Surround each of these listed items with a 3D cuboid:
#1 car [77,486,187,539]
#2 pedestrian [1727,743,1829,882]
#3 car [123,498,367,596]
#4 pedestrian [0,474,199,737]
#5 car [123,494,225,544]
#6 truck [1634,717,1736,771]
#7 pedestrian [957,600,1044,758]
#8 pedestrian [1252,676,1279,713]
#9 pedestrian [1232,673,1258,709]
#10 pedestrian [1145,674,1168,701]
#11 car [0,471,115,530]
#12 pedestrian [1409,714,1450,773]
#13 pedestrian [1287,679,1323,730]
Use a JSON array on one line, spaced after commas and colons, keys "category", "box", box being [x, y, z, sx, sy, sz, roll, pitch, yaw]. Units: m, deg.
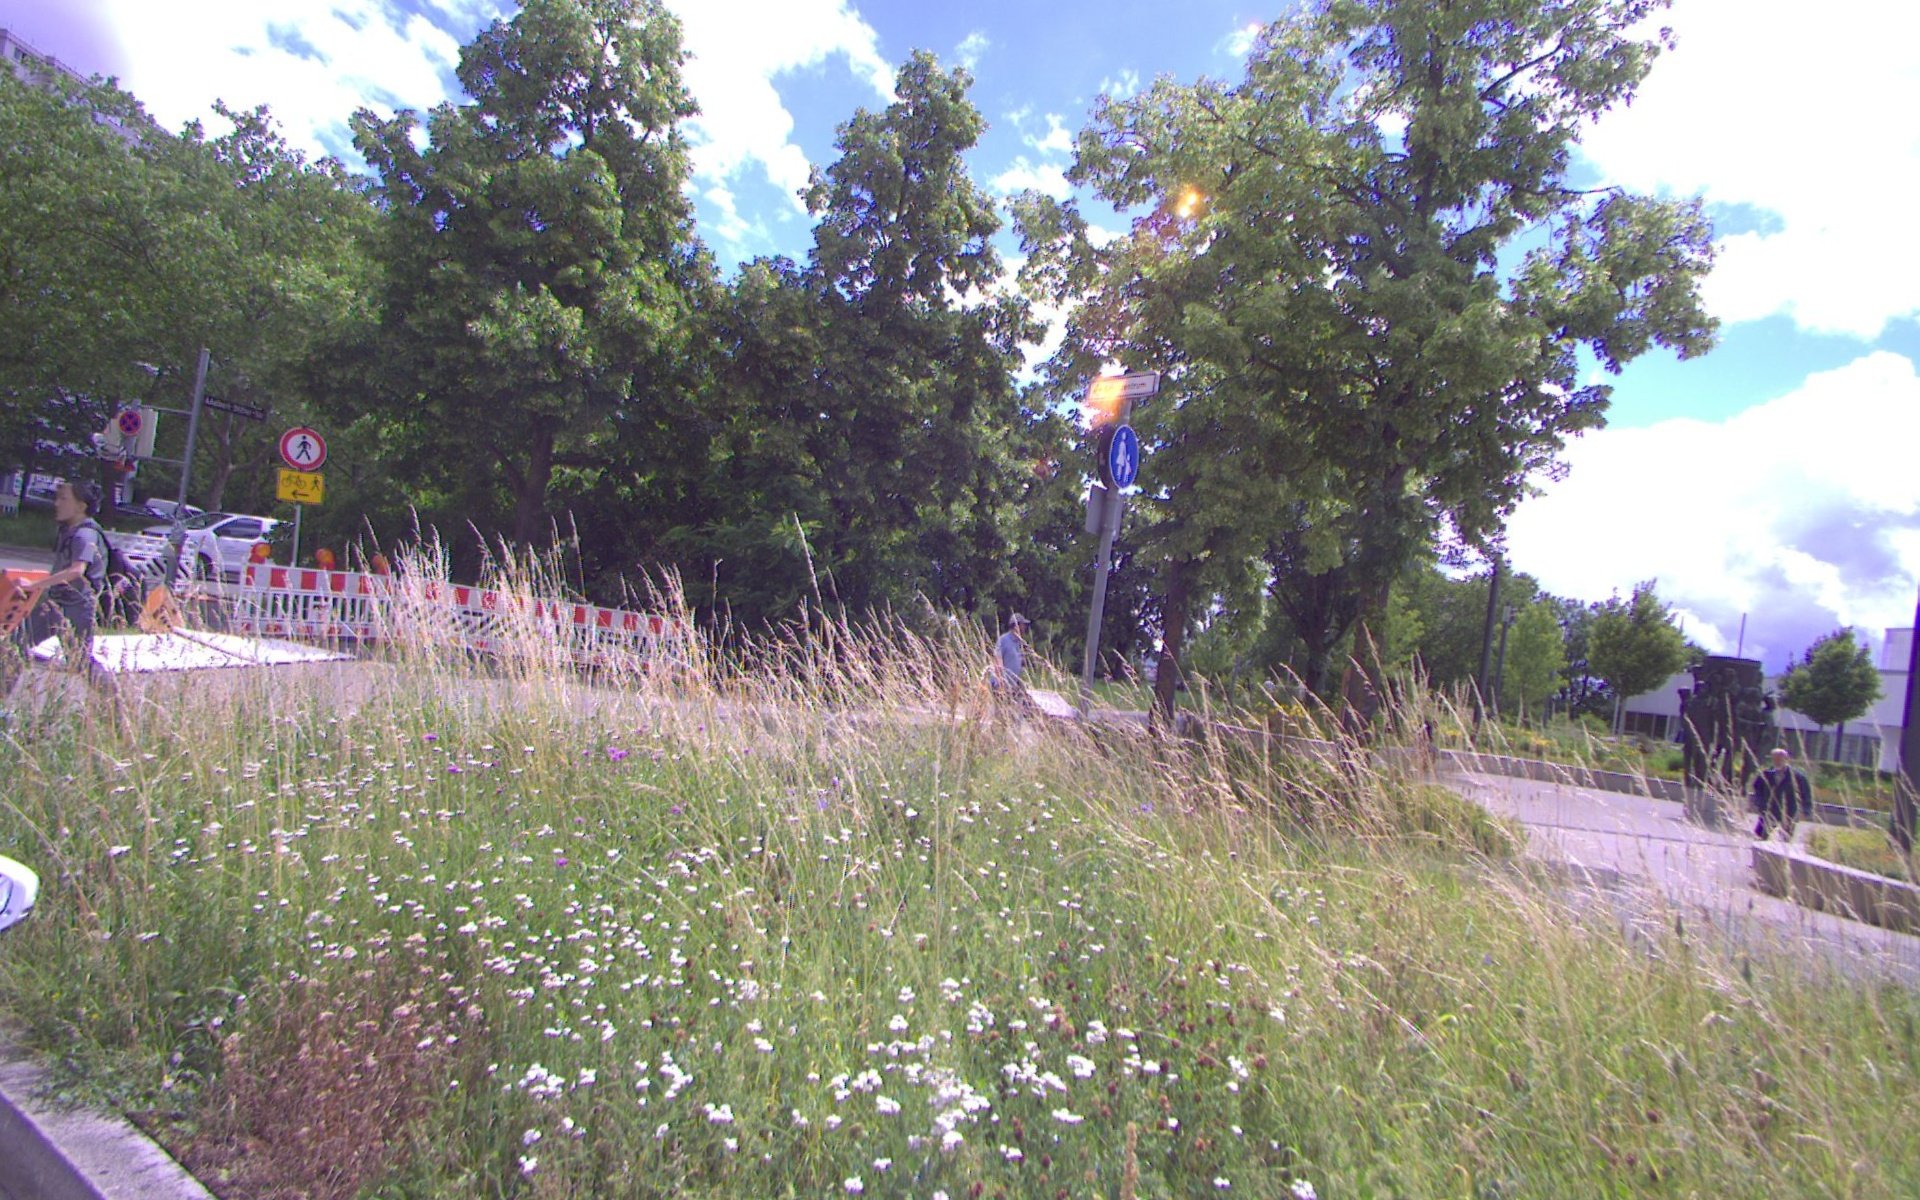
[{"category": "car", "box": [-43.785, -4.605, 53.278, 3.926, 2.037, 2.001, 8, -1, 0]}, {"category": "pedestrian", "box": [10.873, 2.803, 13.379, 0.759, 1.644, 0.764, 8, -1, -38]}, {"category": "car", "box": [-19.713, -1.392, 28.044, 1.915, 1.895, 5.090, 7, -2, 28]}, {"category": "pedestrian", "box": [-5.834, 0.039, 6.604, 0.829, 1.570, 0.948, 7, -1, 31]}, {"category": "car", "box": [-44.240, -4.533, 56.681, 3.926, 2.037, 2.001, 8, -1, 0]}, {"category": "truck", "box": [37.323, 7.381, 51.917, 1.965, 2.037, 3.999, 8, -1, -4]}, {"category": "pedestrian", "box": [0.526, 1.002, 12.822, 0.750, 1.862, 0.773, 7, -1, 13]}, {"category": "pedestrian", "box": [15.114, 4.674, 49.761, 0.879, 1.732, 0.817, 8, -1, 30]}, {"category": "pedestrian", "box": [14.181, 4.521, 50.071, 0.872, 1.681, 0.817, 8, -1, 30]}, {"category": "pedestrian", "box": [12.739, 5.684, 65.217, 1.135, 1.571, 0.818, 8, -1, -2]}, {"category": "car", "box": [-43.691, -4.781, 48.562, 3.926, 2.037, 2.001, 8, -1, 0]}, {"category": "pedestrian", "box": [10.794, 3.301, 23.134, 0.623, 1.236, 0.618, 7, -1, 36]}, {"category": "pedestrian", "box": [15.225, 4.605, 44.434, 1.137, 2.037, 0.817, 8, 0, 30]}]
